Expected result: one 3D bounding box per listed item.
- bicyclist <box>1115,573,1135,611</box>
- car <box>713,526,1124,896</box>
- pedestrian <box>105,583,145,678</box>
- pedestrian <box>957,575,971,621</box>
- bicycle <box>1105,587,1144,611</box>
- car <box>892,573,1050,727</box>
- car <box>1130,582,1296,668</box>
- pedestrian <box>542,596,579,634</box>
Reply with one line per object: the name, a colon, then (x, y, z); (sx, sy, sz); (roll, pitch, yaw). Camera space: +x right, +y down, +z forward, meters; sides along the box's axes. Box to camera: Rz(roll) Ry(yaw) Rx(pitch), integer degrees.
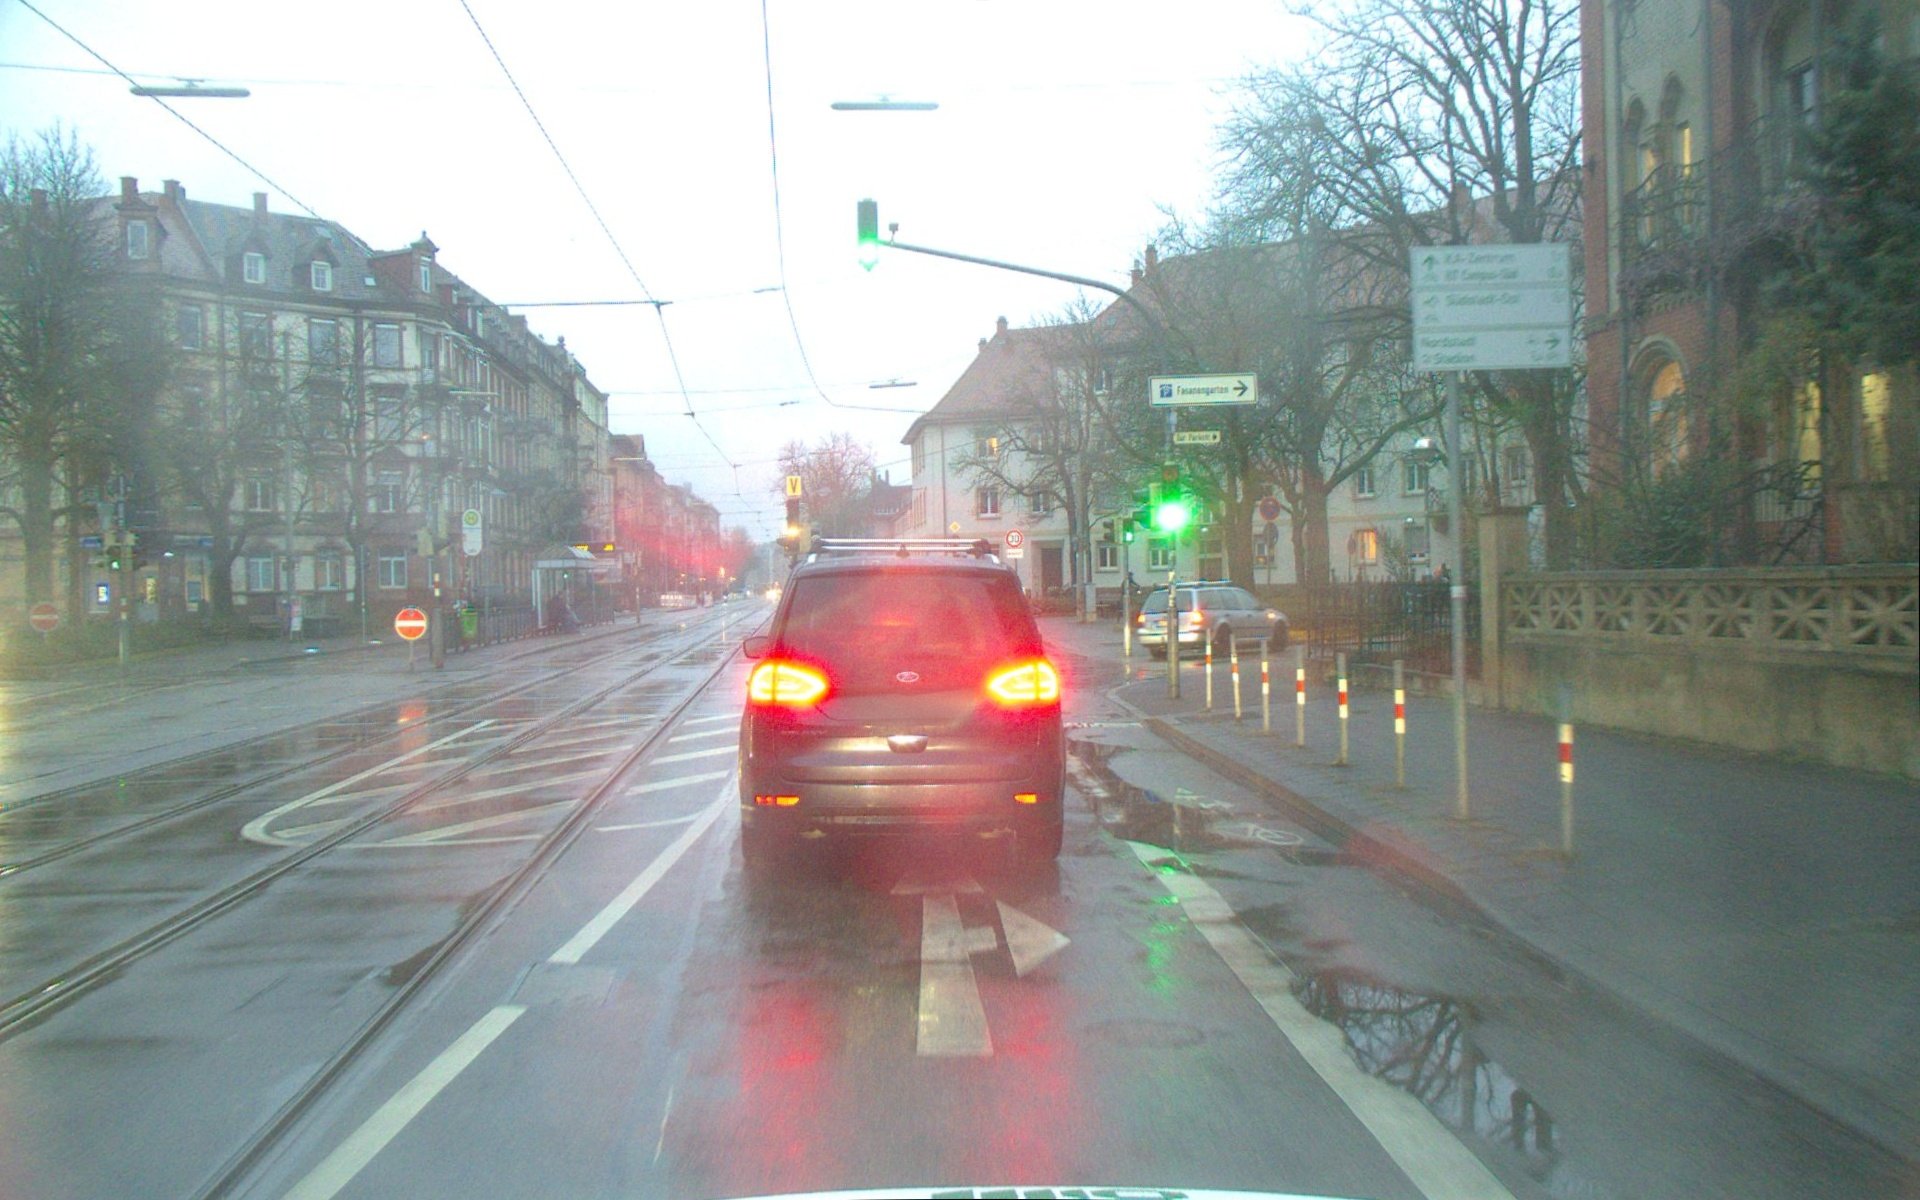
bicyclist: (8.431, -0.414, 84.611); (0.791, 1.952, 0.707); (-1, 0, 27)
car: (-0.328, 0.544, 10.656); (2.062, 1.848, 4.658); (0, 0, -3)
pedestrian: (-18.185, 0.654, 36.021); (0.695, 2.049, 0.655); (-1, 0, -25)
pedestrian: (0.169, -0.095, 74.533); (0.584, 2.049, 0.631); (-1, 0, -1)
bicycle: (8.424, -0.041, 84.593); (1.814, 1.204, 0.713); (-1, 0, 27)
car: (0.256, 0.683, 24.342); (1.672, 2.049, 4.303); (-1, 0, 9)
car: (5.365, 0.497, 34.762); (1.682, 1.691, 3.981); (-1, 0, 39)
pedestrian: (-13.126, 0.485, 54.361); (1.027, 1.221, 0.884); (-1, 0, -4)
